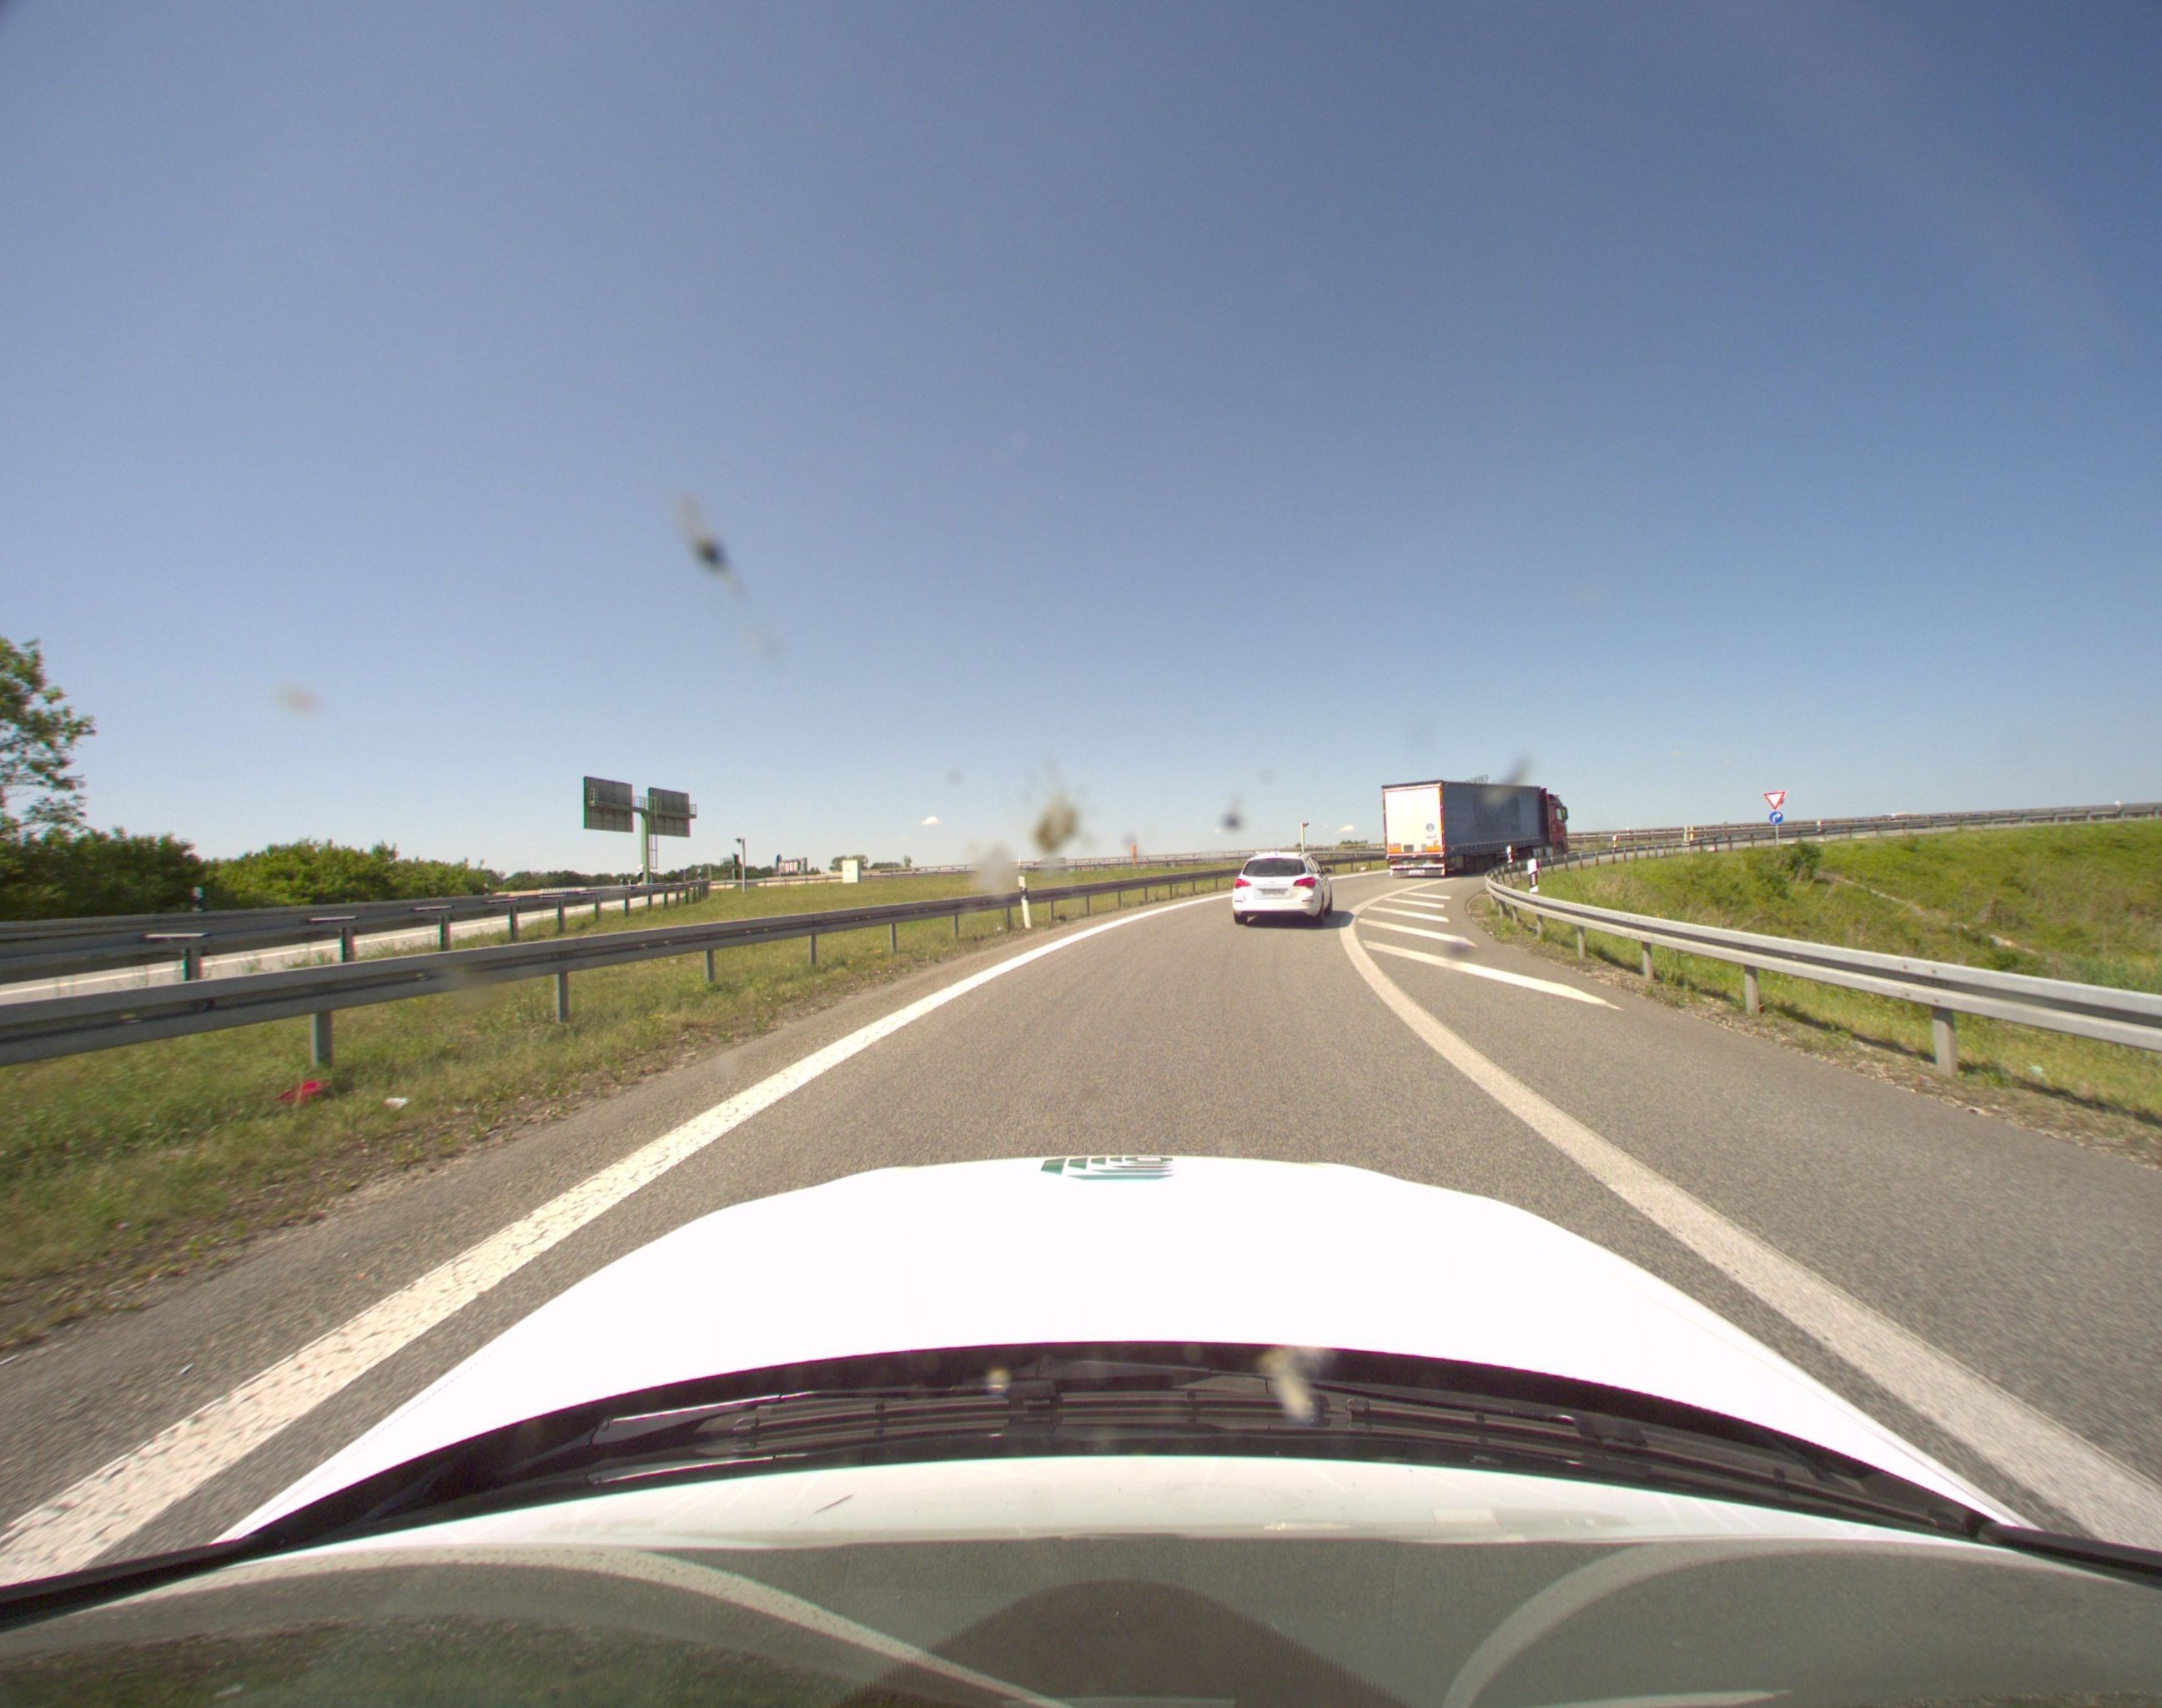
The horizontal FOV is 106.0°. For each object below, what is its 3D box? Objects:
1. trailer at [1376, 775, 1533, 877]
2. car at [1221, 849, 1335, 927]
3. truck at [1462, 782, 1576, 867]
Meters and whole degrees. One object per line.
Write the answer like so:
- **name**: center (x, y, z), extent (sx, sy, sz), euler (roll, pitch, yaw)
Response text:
- **trailer**: center (17.720, -1.228, 38.010), extent (2.885, 4.145, 11.324), euler (-2, 0, 45)
- **car**: center (4.420, 0.665, 17.745), extent (1.838, 1.443, 4.394), euler (-3, 0, 20)
- **truck**: center (23.351, -1.509, 43.273), extent (6.961, 4.145, 2.888), euler (-2, 0, -40)
